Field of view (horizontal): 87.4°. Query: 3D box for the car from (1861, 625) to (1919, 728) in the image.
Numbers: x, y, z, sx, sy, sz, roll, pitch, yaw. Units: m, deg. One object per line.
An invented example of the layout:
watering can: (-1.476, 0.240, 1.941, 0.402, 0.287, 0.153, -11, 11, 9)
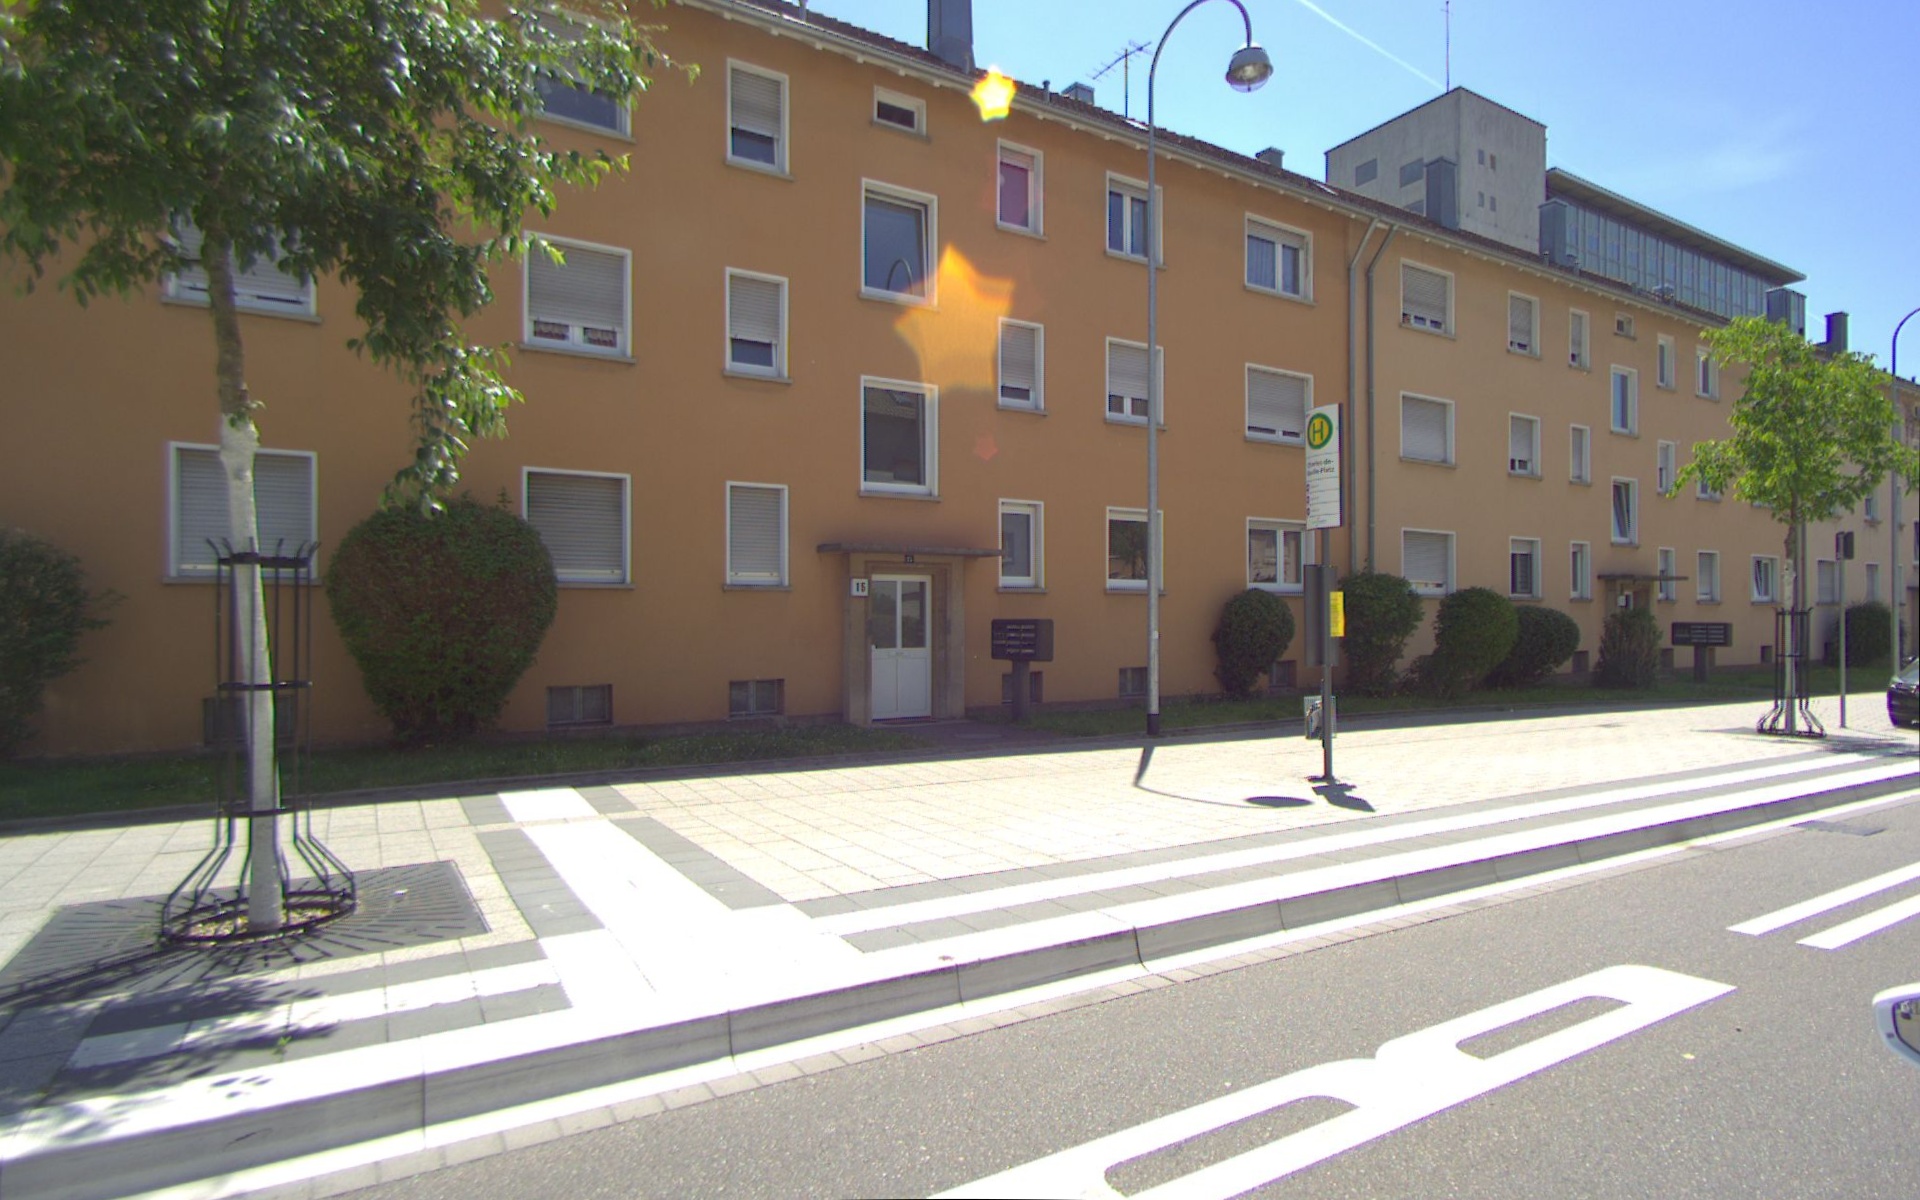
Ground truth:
car: (16.628, 1.211, 16.293, 4.512, 1.527, 1.846, 1, 1, -33)
